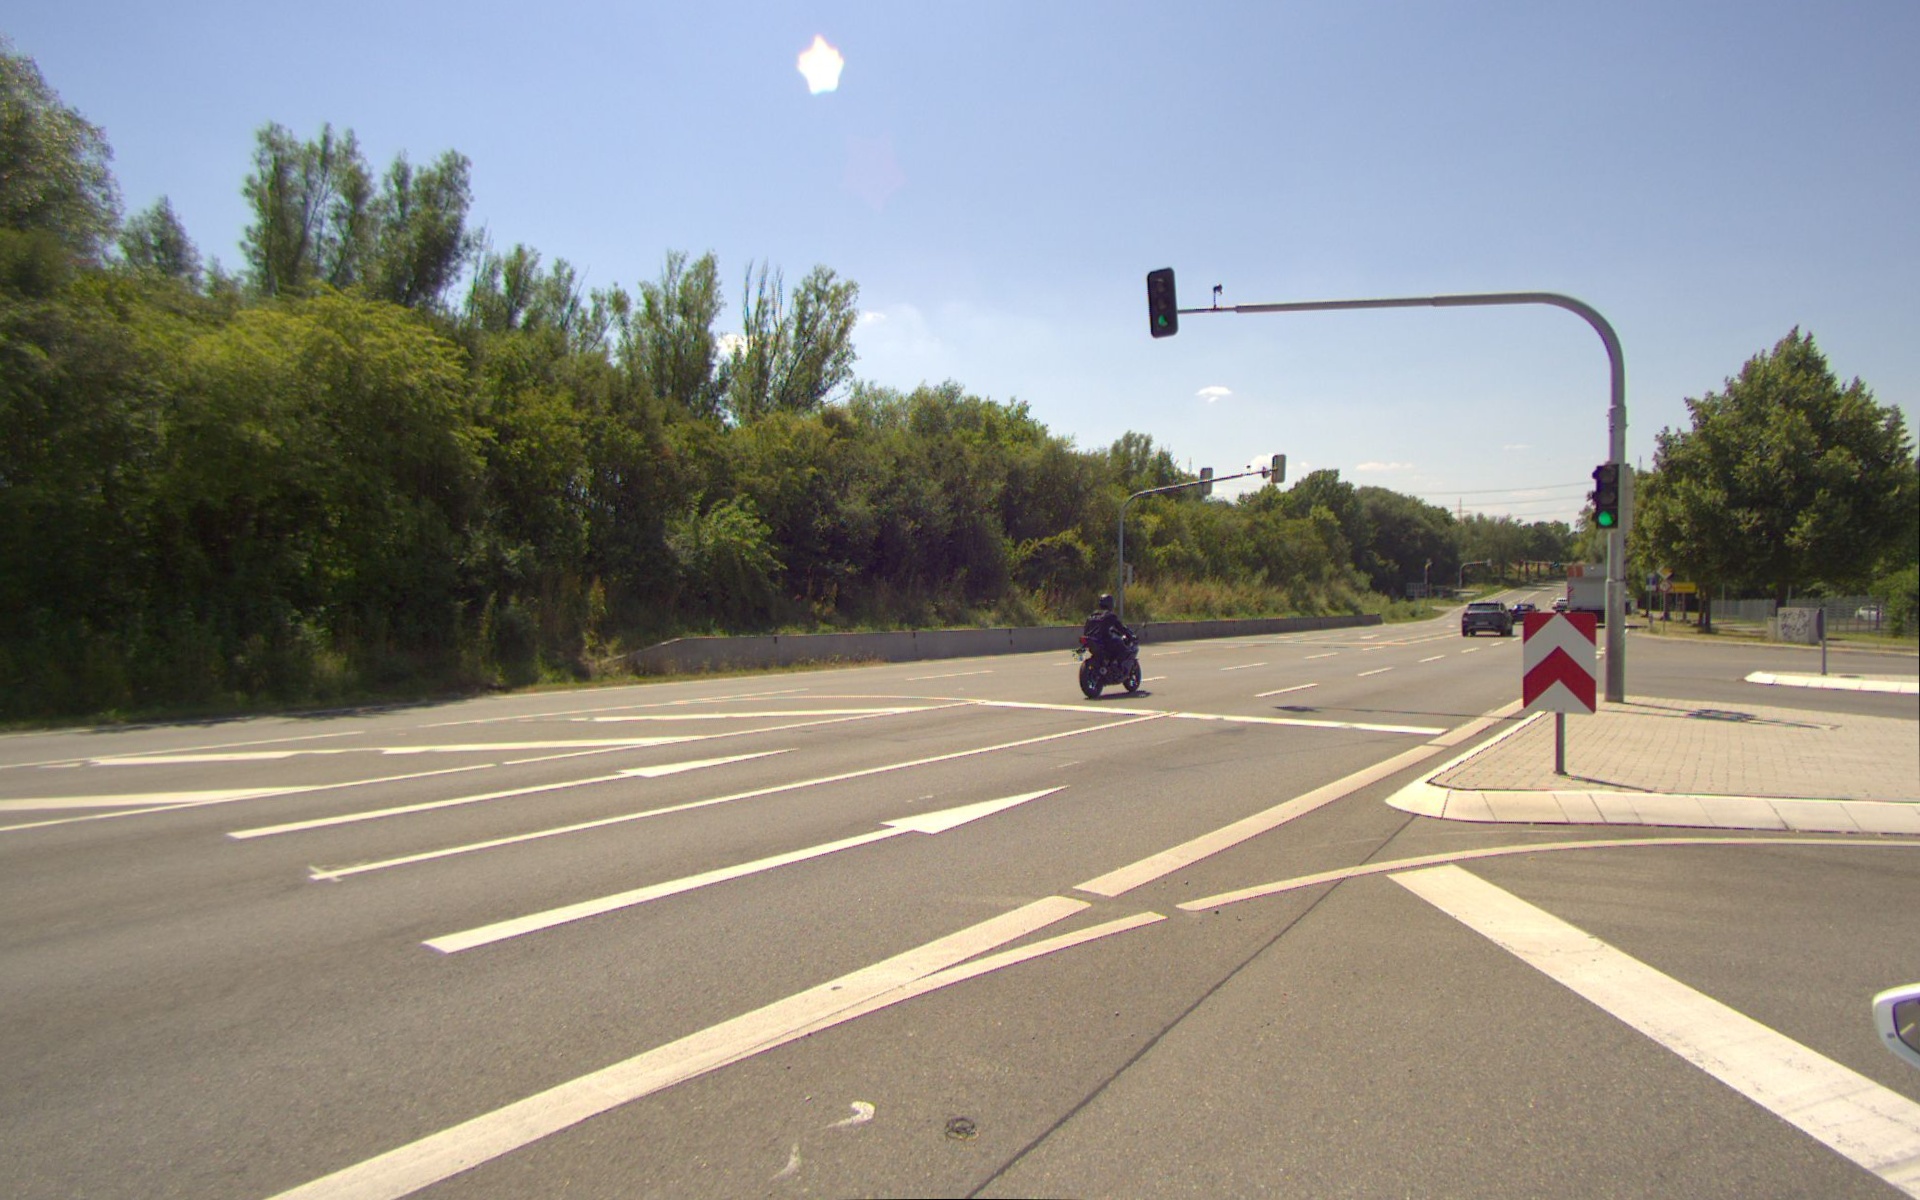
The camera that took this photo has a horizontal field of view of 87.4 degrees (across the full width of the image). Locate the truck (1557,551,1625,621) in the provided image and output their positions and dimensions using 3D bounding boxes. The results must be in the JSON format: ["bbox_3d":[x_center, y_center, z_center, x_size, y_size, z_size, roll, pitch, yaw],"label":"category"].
[{"bbox_3d":[37.631,-0.755,59.806,3.222,3.891,6.185,0,-1,34],"label":"truck"}]

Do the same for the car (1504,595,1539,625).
[{"bbox_3d":[38.456,0.697,68.744,1.965,2.040,3.991,0,-1,31],"label":"car"}]

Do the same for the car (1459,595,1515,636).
[{"bbox_3d":[23.767,0.700,45.204,1.965,1.773,3.991,0,-1,32],"label":"car"}]

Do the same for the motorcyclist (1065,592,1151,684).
[{"bbox_3d":[2.417,0.603,16.392,1.168,1.431,0.864,1,-1,-44],"label":"motorcyclist"}]

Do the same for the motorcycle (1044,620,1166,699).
[{"bbox_3d":[2.397,0.921,16.378,2.155,1.157,0.852,0,0,-44],"label":"motorcycle"}]
